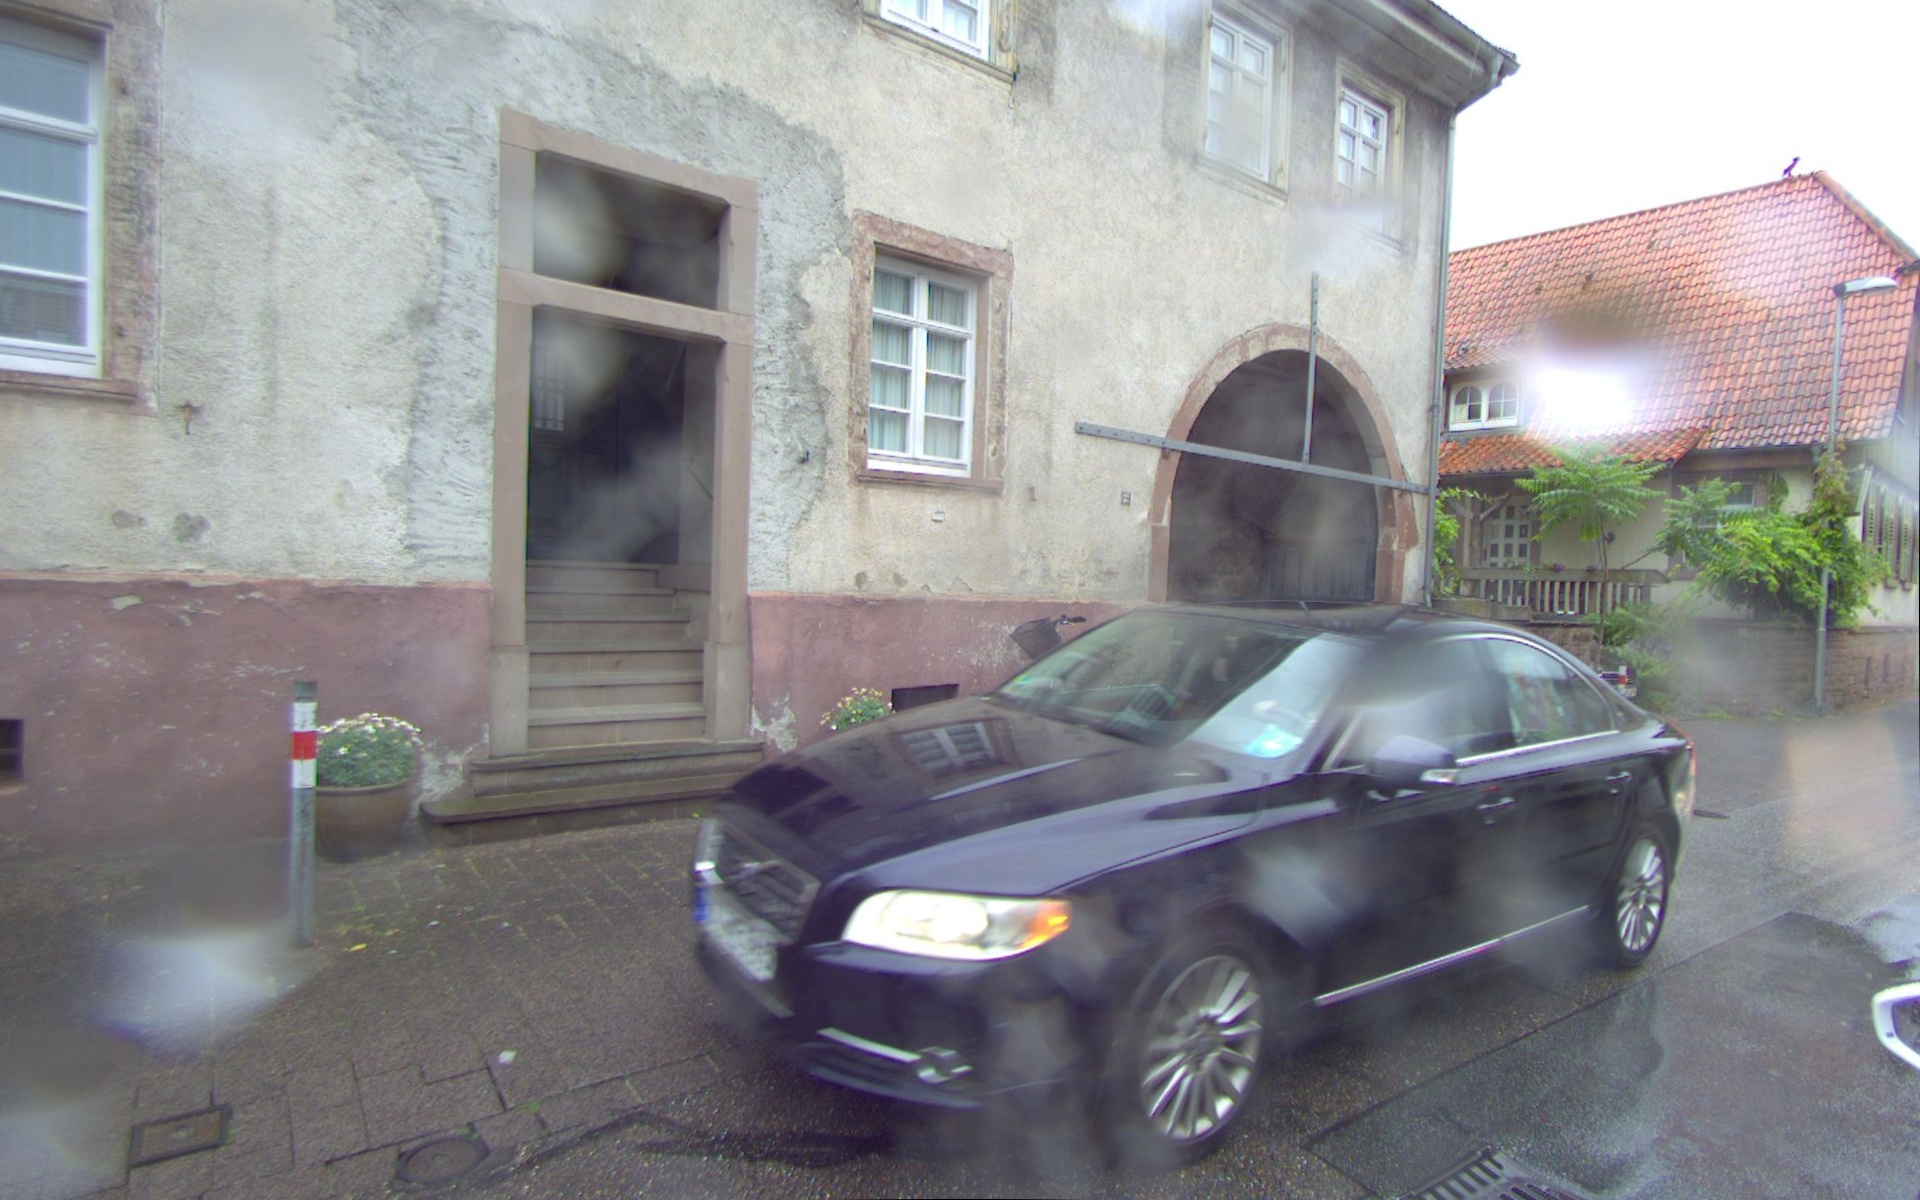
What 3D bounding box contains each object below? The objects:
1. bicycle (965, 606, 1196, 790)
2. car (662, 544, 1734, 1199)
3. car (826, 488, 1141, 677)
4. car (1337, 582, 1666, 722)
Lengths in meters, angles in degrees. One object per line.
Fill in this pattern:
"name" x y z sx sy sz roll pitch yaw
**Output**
"bicycle" 0.940 0.669 7.461 1.858 1.194 0.478 1 4 -38
"car" 1.233 0.675 3.975 4.299 1.529 1.684 2 1 -36
"car" 0.139 -0.330 13.533 1.869 1.957 4.194 6 3 -37
"car" 7.967 0.680 15.171 1.715 1.444 3.967 2 5 -30
